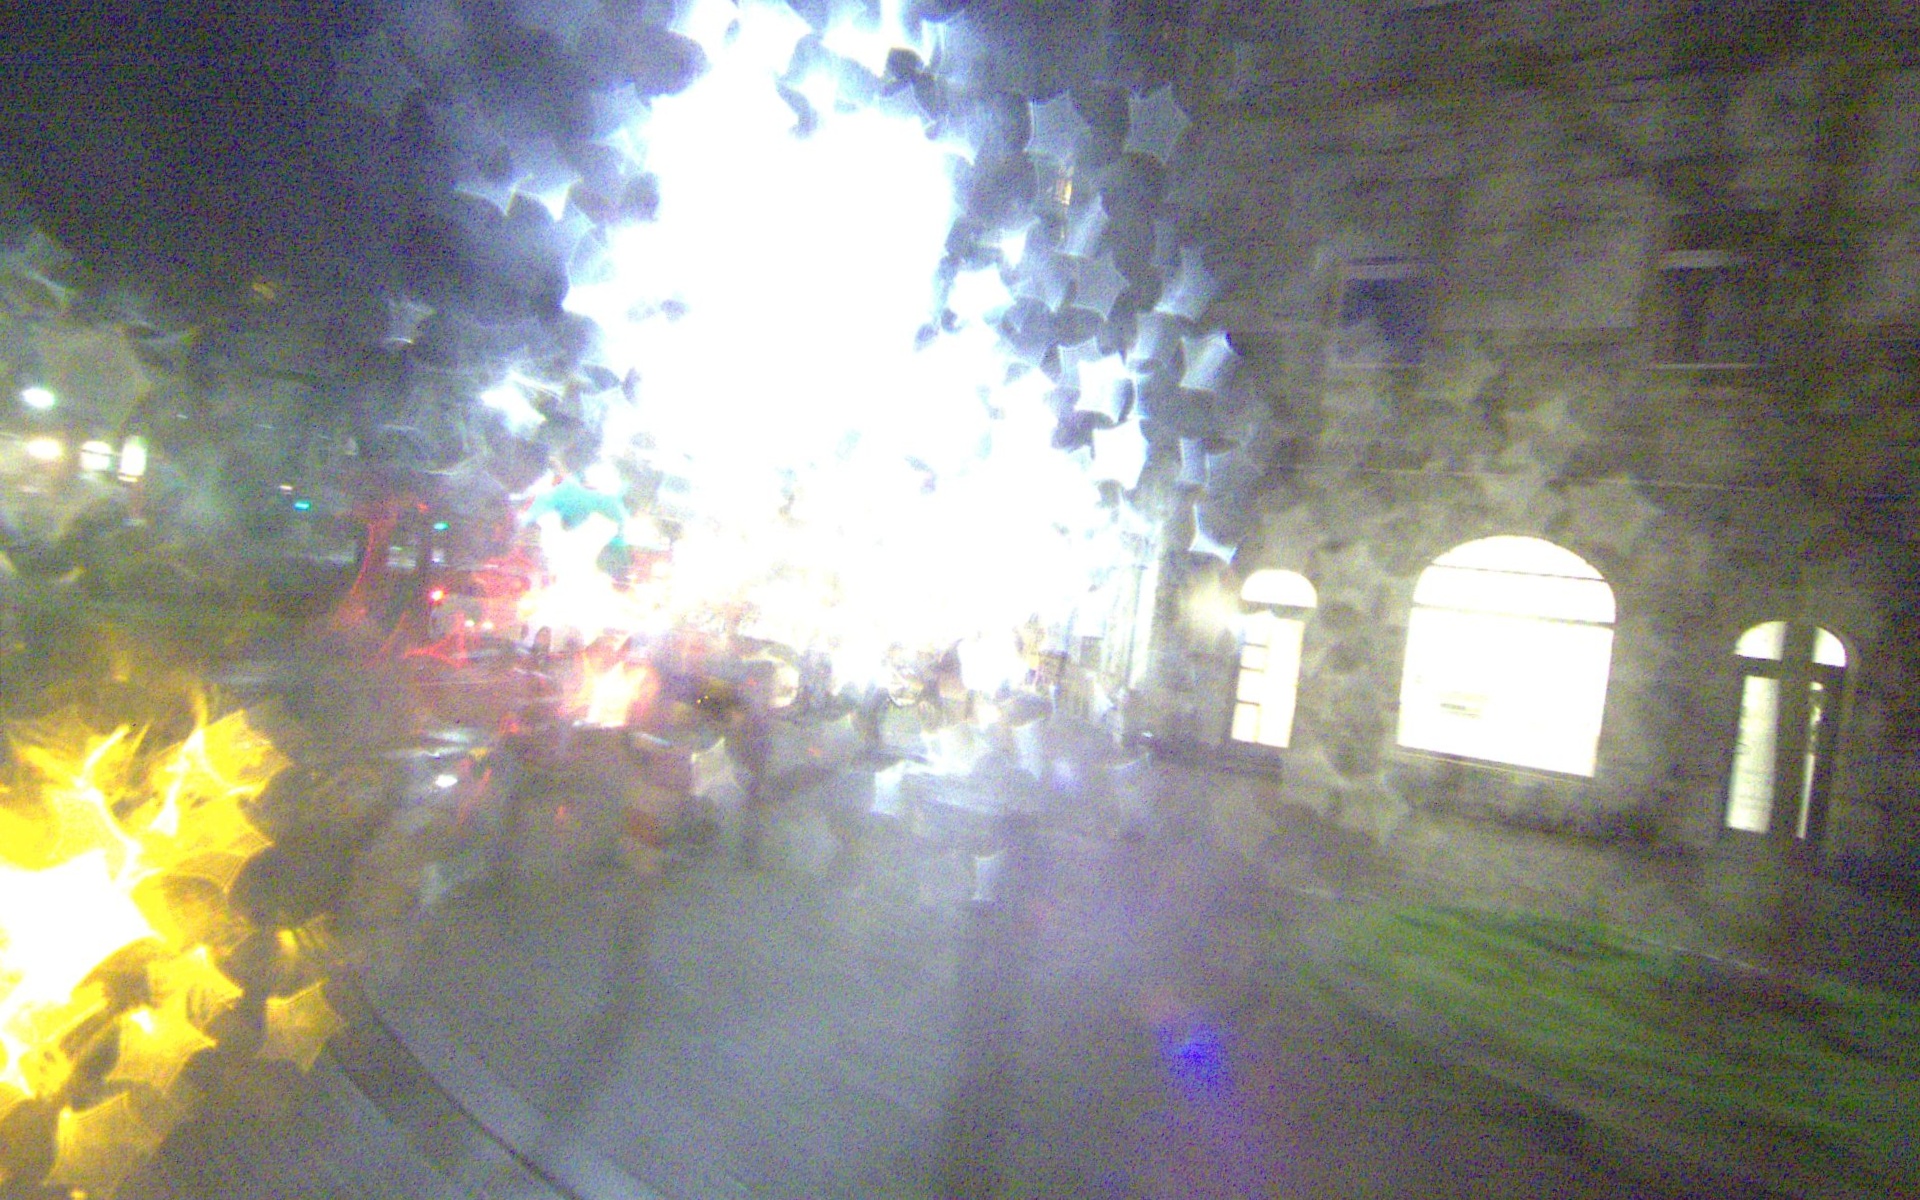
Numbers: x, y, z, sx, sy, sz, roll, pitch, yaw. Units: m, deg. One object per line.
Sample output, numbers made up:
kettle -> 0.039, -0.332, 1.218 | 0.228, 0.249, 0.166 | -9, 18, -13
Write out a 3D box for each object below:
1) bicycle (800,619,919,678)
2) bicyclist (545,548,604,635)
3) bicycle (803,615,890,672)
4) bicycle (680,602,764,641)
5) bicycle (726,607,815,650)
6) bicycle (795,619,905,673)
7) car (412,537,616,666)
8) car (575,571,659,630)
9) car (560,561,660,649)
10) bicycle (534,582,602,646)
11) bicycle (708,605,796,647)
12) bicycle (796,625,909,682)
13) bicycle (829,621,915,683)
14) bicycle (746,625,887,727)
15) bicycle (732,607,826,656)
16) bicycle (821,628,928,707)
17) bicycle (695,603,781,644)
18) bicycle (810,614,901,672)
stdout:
bicycle -> -2.452, 1.170, 24.517 | 2.731, 1.038, 0.724 | 8, -1, -11
bicyclist -> -8.073, -0.163, 21.106 | 0.786, 1.693, 0.707 | 9, -2, -8
bicycle -> -2.668, 1.012, 23.632 | 1.905, 1.072, 0.450 | 8, 0, -11
bicycle -> -8.567, 0.776, 36.280 | 2.751, 1.038, 0.718 | 9, -1, -34
bicycle -> -6.164, 0.944, 32.829 | 2.755, 1.038, 0.717 | 9, -1, -39
bicycle -> -2.910, 1.212, 26.563 | 2.731, 1.038, 0.724 | 8, -1, -11
car -> -7.039, 0.116, 16.304 | 1.706, 1.630, 3.464 | 9, -3, -3
car -> -12.458, -0.009, 36.345 | 1.980, 1.746, 3.972 | 10, -4, -29
car -> -8.742, 0.147, 25.331 | 1.972, 1.746, 3.989 | 9, -3, -17
bicycle -> -8.122, 0.314, 20.923 | 0.763, 1.161, 1.716 | 9, -3, -7
bicycle -> -7.018, 0.885, 34.081 | 2.751, 1.038, 0.718 | 9, -1, -34
bicycle -> -2.748, 1.369, 25.721 | 2.731, 1.038, 0.724 | 8, -1, -11
bicycle -> -1.881, 1.114, 21.609 | 1.705, 1.072, 0.450 | 8, 0, -6
bicycle -> -1.820, 0.969, 12.891 | 1.634, 1.072, 0.450 | 8, 0, -6
bicycle -> -5.632, 0.982, 31.423 | 2.731, 1.143, 0.724 | 8, -1, -11
bicycle -> -1.425, 1.126, 16.824 | 1.634, 1.072, 0.450 | 8, 0, -6
bicycle -> -7.707, 0.835, 35.037 | 2.751, 1.038, 0.718 | 9, -1, -34
bicycle -> -2.388, 0.983, 22.977 | 1.905, 1.072, 0.450 | 8, 0, -11
